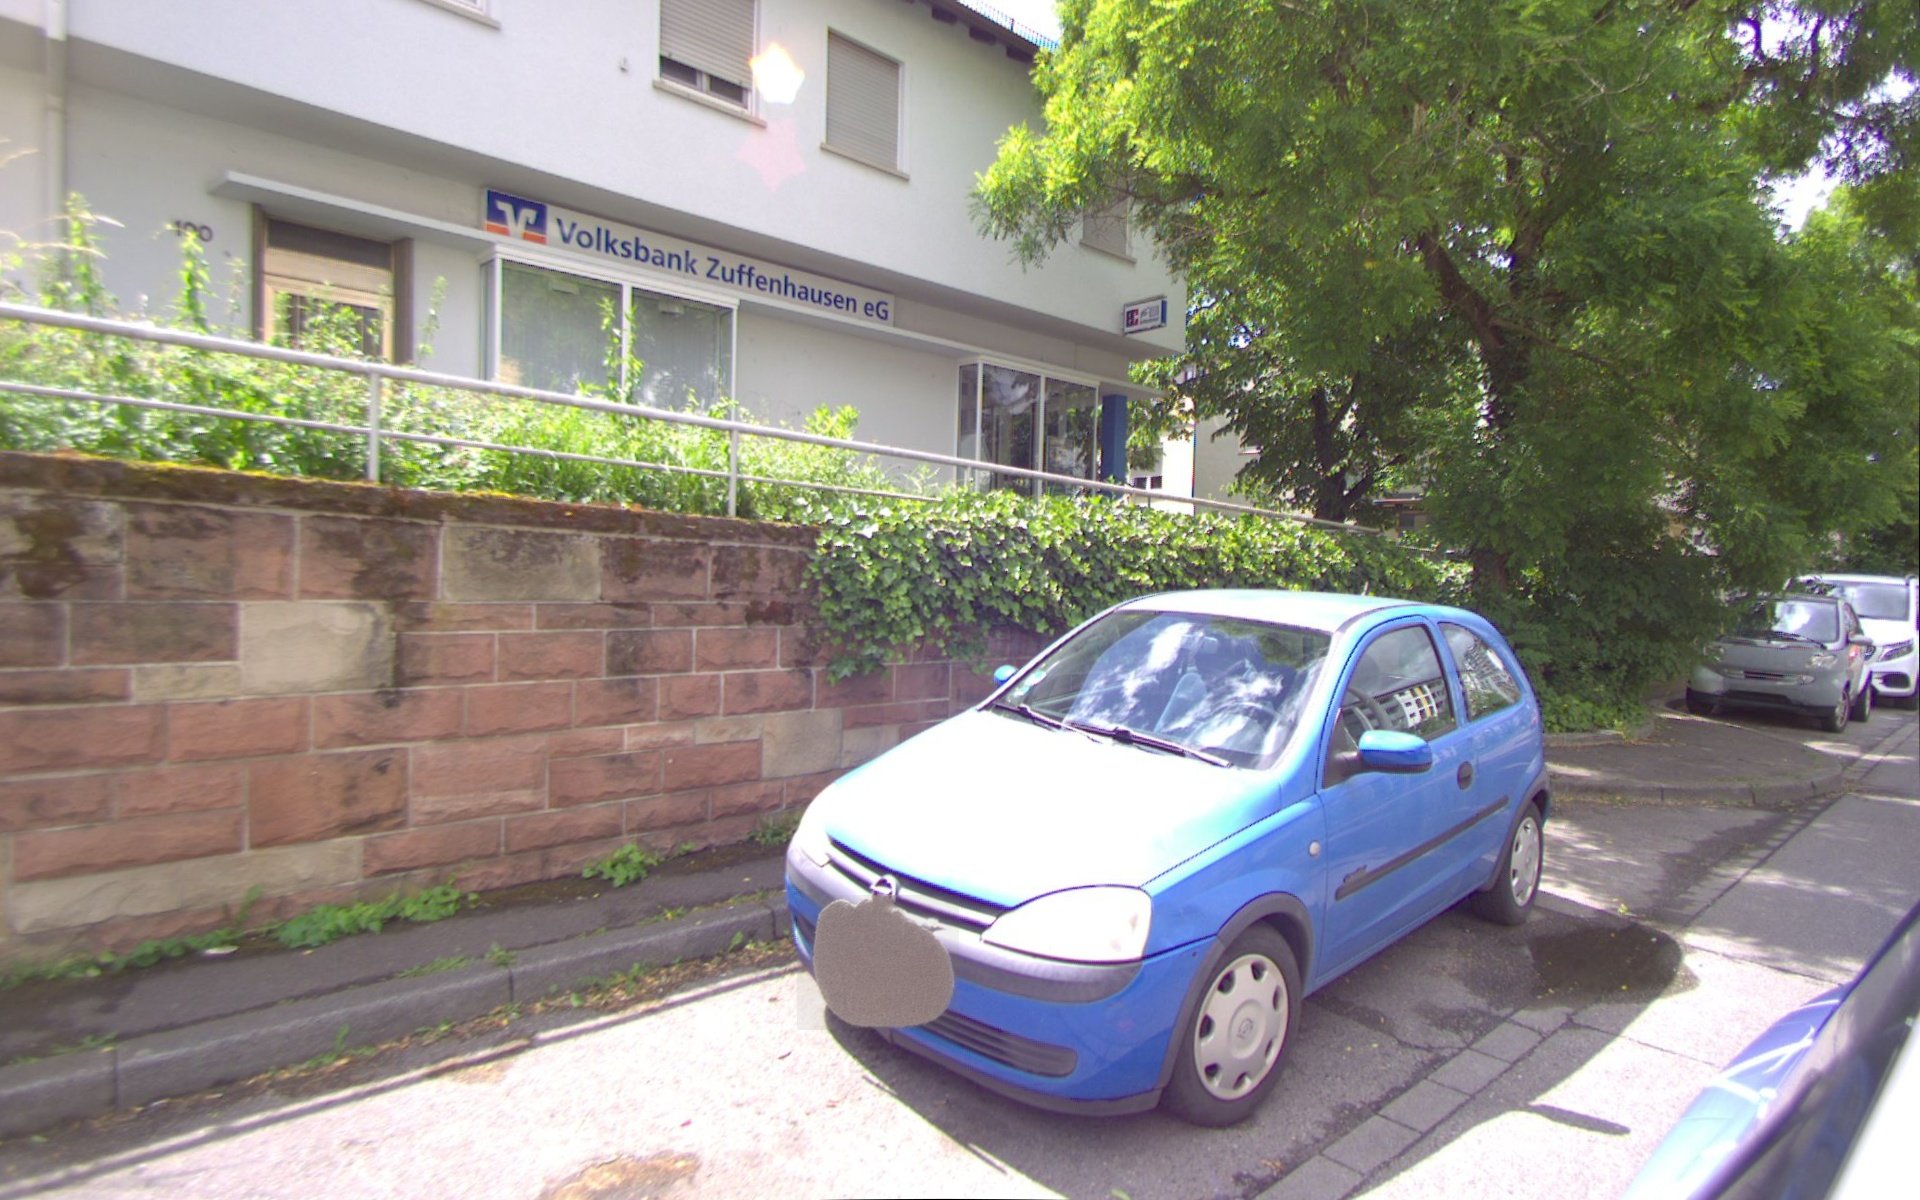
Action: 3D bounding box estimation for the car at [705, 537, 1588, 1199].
[{"bbox_3d":[1.022,0.577,4.034,3.614,1.474,1.610,0,3,-44],"label":"car"}]

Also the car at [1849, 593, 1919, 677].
[{"bbox_3d":[18.987,0.661,19.908,4.267,1.460,1.758,0,3,-43],"label":"car"}]

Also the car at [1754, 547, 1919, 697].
[{"bbox_3d":[14.364,0.271,16.050,5.648,1.983,1.917,0,2,-43],"label":"car"}]

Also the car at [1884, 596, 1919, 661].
[{"bbox_3d":[23.865,0.683,24.619,4.420,1.460,1.757,0,2,-44],"label":"car"}]

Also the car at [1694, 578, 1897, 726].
[{"bbox_3d":[10.400,0.557,12.551,2.798,1.552,1.515,0,3,-43],"label":"car"}]
